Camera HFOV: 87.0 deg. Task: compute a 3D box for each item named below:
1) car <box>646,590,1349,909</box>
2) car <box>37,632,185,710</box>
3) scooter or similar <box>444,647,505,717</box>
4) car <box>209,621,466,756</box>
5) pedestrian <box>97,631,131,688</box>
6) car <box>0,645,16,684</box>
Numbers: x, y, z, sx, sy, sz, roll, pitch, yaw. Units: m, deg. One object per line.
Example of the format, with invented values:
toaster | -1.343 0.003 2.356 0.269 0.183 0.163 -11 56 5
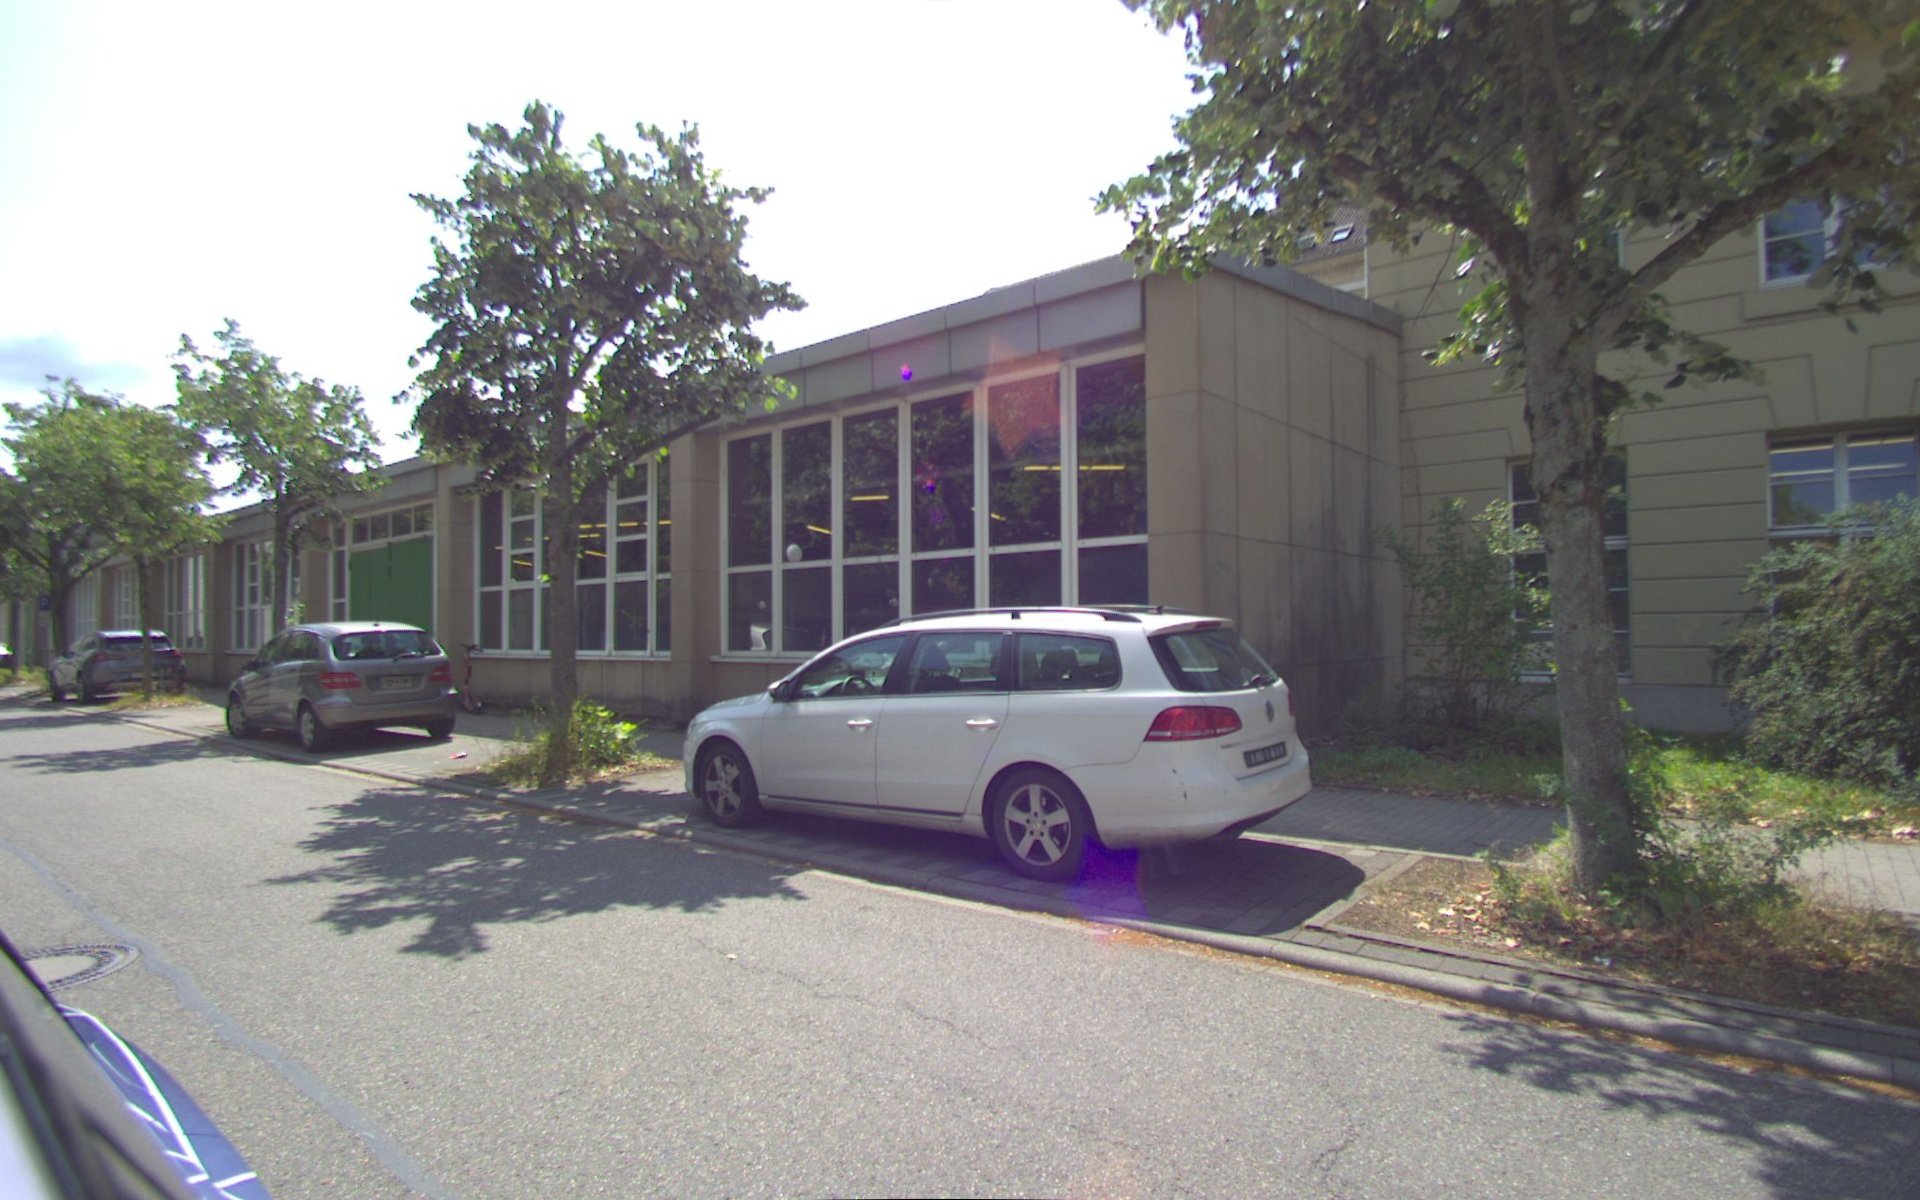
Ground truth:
car | -0.014 0.755 6.792 4.577 1.467 1.708 -2 -1 38
car | -20.420 1.650 24.271 4.510 1.645 1.804 -2 -1 38
scooter or similar | -8.563 1.421 17.837 1.214 1.178 0.500 -3 -2 41
car | -8.741 1.140 14.078 4.108 1.568 1.740 -2 -1 38
pedestrian | -28.001 1.963 33.485 0.670 1.801 0.779 -4 -2 43
car | -38.388 2.573 39.518 4.285 1.446 1.708 -4 -2 39
